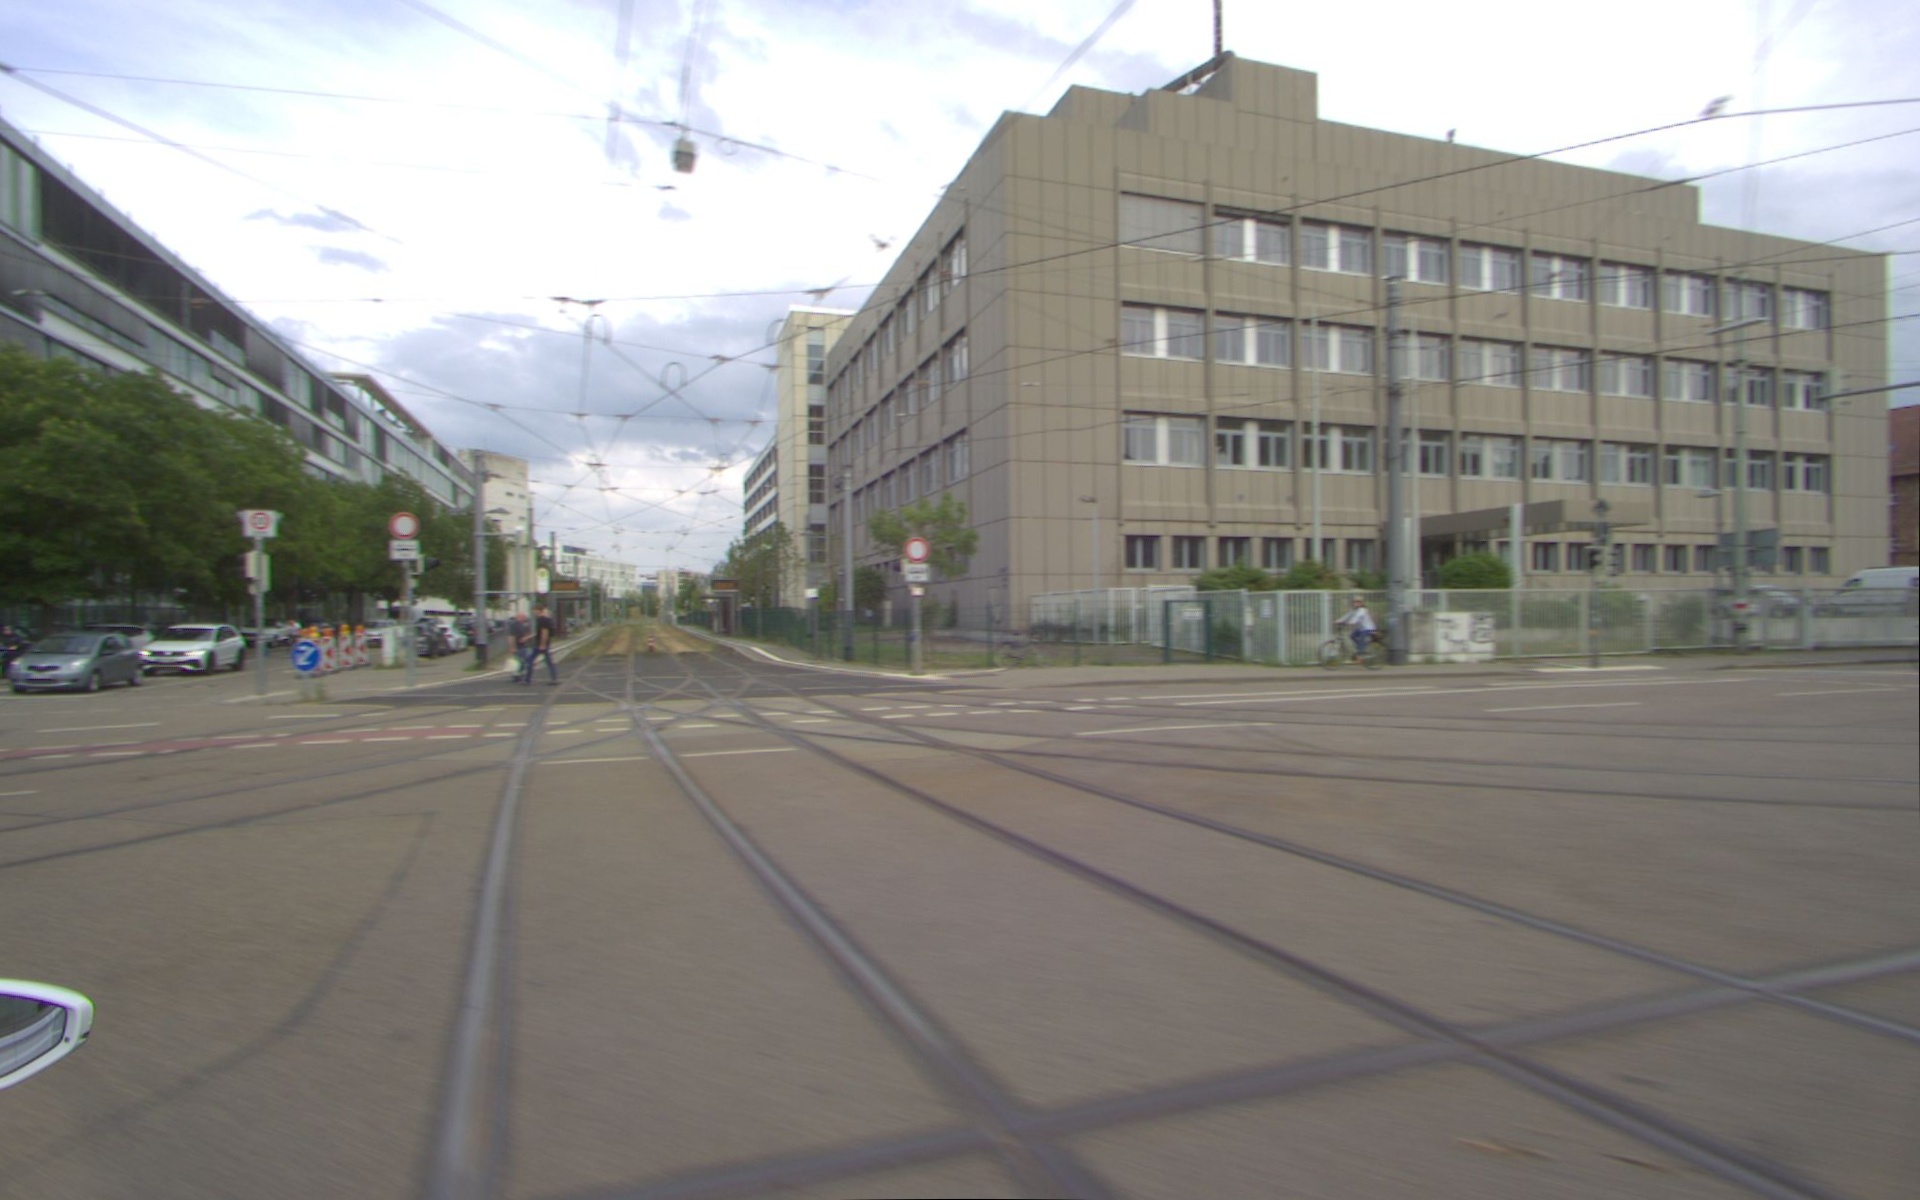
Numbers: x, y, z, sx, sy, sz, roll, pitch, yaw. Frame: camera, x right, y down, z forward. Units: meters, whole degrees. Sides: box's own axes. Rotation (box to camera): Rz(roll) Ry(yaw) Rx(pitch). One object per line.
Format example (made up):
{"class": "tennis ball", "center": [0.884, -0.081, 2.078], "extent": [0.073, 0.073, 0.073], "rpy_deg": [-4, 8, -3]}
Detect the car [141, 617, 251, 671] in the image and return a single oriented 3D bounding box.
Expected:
{"class": "car", "center": [-25.732, 1.455, 33.895], "extent": [1.691, 1.681, 4.123], "rpy_deg": [2, -1, -19]}

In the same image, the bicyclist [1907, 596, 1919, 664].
{"class": "bicyclist", "center": [22.983, 0.694, 23.310], "extent": [1.305, 1.570, 0.802], "rpy_deg": [-1, 0, -15]}

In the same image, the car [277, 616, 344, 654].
{"class": "car", "center": [-30.754, 1.611, 47.547], "extent": [1.691, 1.681, 4.123], "rpy_deg": [2, -1, -19]}

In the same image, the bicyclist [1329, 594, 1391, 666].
{"class": "bicyclist", "center": [9.775, 0.735, 24.473], "extent": [1.160, 1.724, 0.802], "rpy_deg": [0, 0, -9]}

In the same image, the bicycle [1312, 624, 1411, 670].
{"class": "bicycle", "center": [9.799, 1.137, 24.476], "extent": [2.143, 1.101, 0.802], "rpy_deg": [0, 0, -10]}

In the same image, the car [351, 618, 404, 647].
{"class": "car", "center": [-33.957, 1.876, 58.463], "extent": [1.877, 1.606, 4.172], "rpy_deg": [2, -1, -19]}

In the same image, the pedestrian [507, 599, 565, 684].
{"class": "pedestrian", "center": [-9.904, 0.959, 23.424], "extent": [1.069, 1.923, 0.900], "rpy_deg": [-1, 0, -14]}

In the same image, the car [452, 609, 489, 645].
{"class": "car", "center": [-29.220, 1.590, 59.868], "extent": [1.762, 2.013, 4.107], "rpy_deg": [-1, 0, -23]}

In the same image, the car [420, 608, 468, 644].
{"class": "car", "center": [-24.504, 1.205, 47.633], "extent": [1.682, 1.627, 4.066], "rpy_deg": [-1, 0, -23]}

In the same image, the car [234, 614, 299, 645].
{"class": "car", "center": [-38.805, 1.629, 56.155], "extent": [1.960, 1.577, 4.499], "rpy_deg": [2, -1, -22]}

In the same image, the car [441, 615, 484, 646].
{"class": "car", "center": [-27.315, 1.655, 55.105], "extent": [1.843, 1.627, 4.199], "rpy_deg": [-1, 0, -23]}

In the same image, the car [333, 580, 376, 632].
{"class": "car", "center": [-44.836, 0.464, 74.246], "extent": [1.960, 3.684, 4.499], "rpy_deg": [1, -1, -22]}

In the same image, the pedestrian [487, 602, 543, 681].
{"class": "pedestrian", "center": [-10.959, 1.005, 24.674], "extent": [0.973, 1.880, 0.901], "rpy_deg": [-1, 0, -3]}

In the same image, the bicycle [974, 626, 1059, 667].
{"class": "bicycle", "center": [1.476, 1.232, 26.375], "extent": [2.124, 0.993, 0.632], "rpy_deg": [-4, -1, 25]}

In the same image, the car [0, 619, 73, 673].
{"class": "car", "center": [-30.657, 1.416, 32.111], "extent": [1.804, 1.577, 4.207], "rpy_deg": [2, -1, -19]}

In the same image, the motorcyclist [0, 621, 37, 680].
{"class": "motorcyclist", "center": [-26.916, 1.415, 28.378], "extent": [0.808, 1.638, 0.880], "rpy_deg": [0, 0, -19]}

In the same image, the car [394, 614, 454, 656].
{"class": "car", "center": [-22.636, 1.424, 42.434], "extent": [1.855, 1.650, 4.074], "rpy_deg": [-1, 0, -23]}

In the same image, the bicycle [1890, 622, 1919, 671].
{"class": "bicycle", "center": [23.027, 1.069, 23.331], "extent": [2.516, 1.101, 0.802], "rpy_deg": [-1, 0, -15]}

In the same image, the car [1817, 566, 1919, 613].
{"class": "car", "center": [49.974, -0.503, 53.502], "extent": [2.526, 2.430, 5.883], "rpy_deg": [0, 0, -21]}

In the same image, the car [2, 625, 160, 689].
{"class": "car", "center": [-23.214, 1.463, 26.660], "extent": [1.645, 1.526, 4.225], "rpy_deg": [2, -1, -19]}

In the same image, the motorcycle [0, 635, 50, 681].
{"class": "motorcycle", "center": [-26.893, 1.616, 28.283], "extent": [0.814, 1.215, 2.497], "rpy_deg": [0, -1, -19]}

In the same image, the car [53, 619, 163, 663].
{"class": "car", "center": [-33.016, 1.565, 38.959], "extent": [1.804, 1.577, 4.207], "rpy_deg": [2, -1, -19]}
